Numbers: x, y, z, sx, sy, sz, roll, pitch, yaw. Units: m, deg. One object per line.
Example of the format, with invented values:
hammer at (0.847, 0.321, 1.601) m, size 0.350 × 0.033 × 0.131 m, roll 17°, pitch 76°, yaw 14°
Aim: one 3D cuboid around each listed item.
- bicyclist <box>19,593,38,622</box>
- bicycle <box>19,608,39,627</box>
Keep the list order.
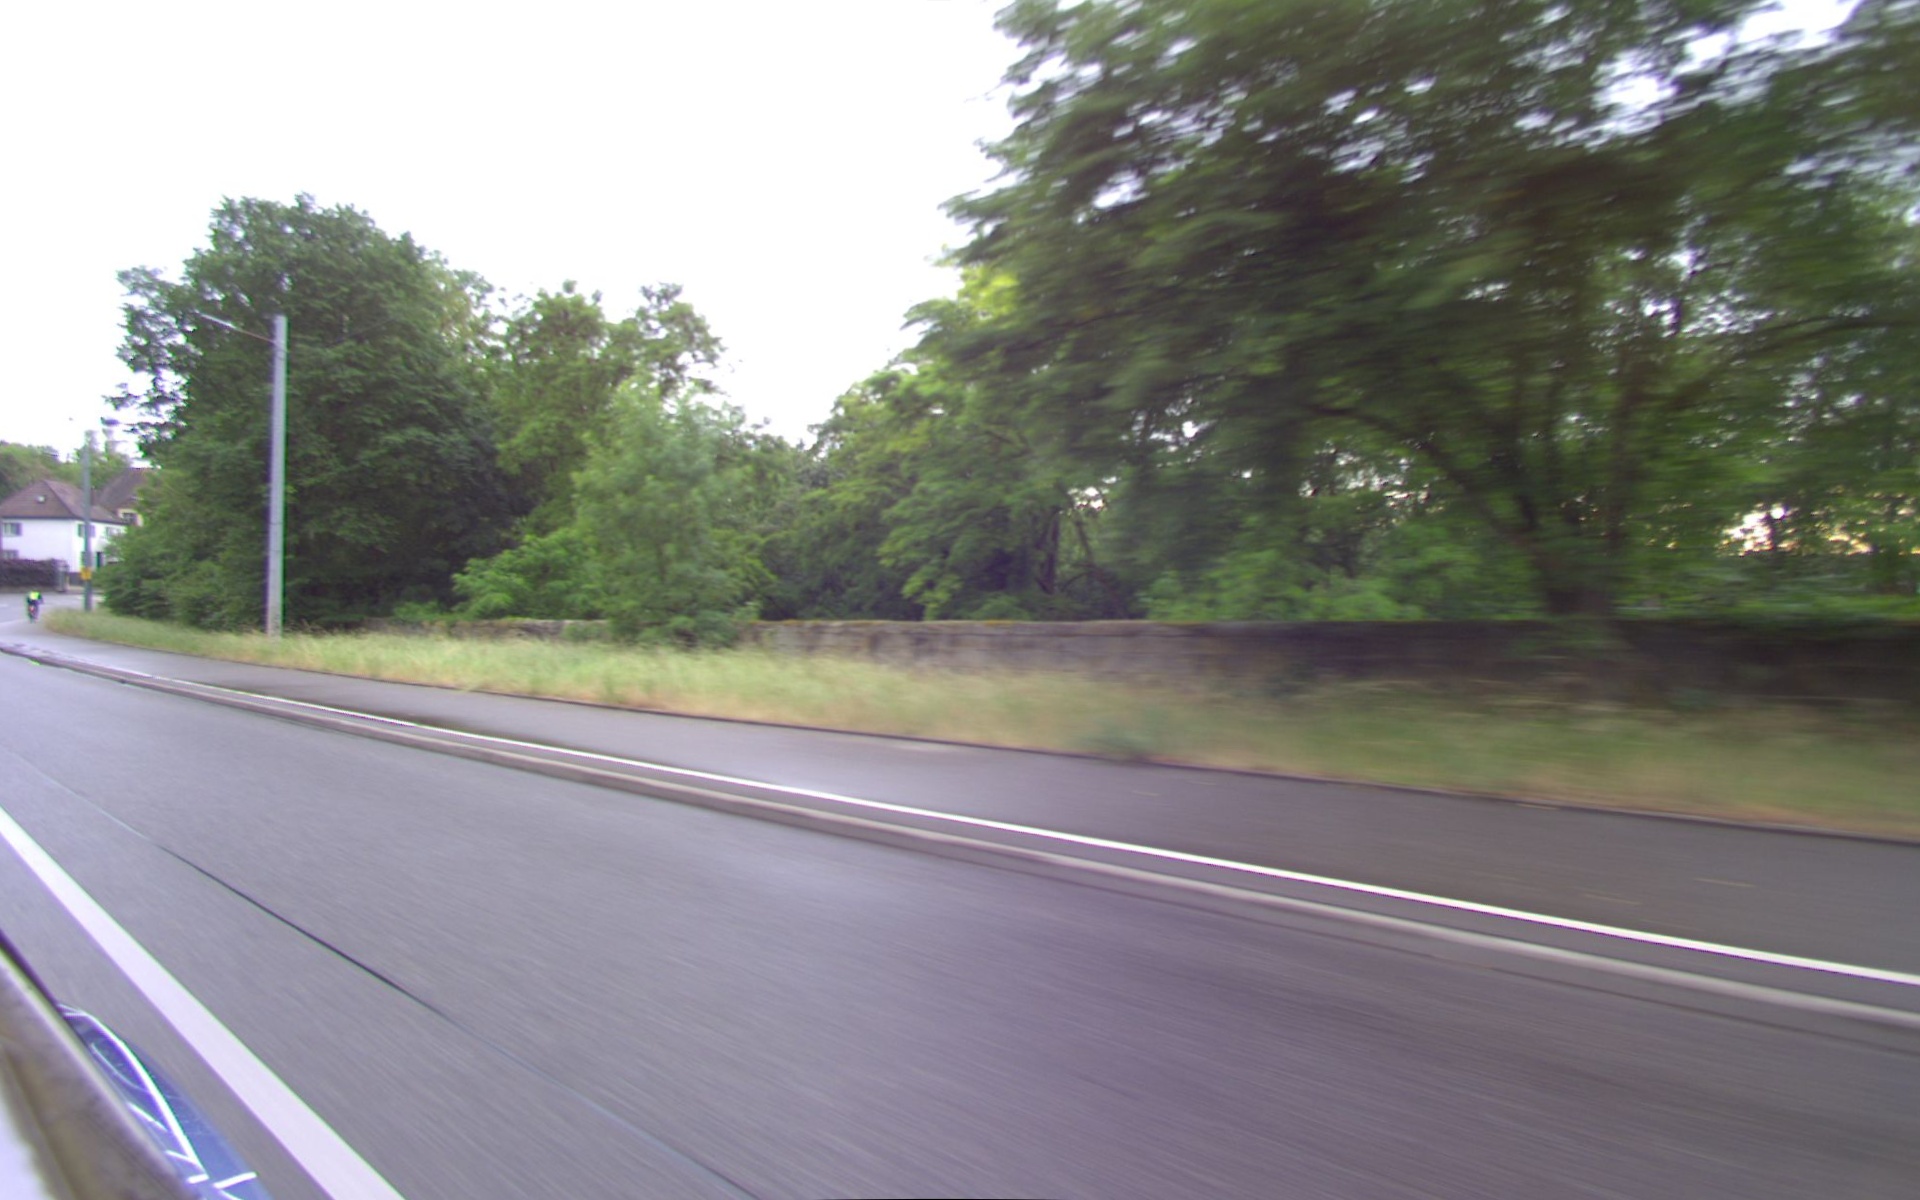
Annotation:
bicyclist at (-50.805, 0.386, 55.202) m, size 0.700 × 1.567 × 1.172 m, roll -2°, pitch 1°, yaw -42°
bicycle at (-50.902, 0.941, 55.343) m, size 0.715 × 0.949 × 2.554 m, roll -2°, pitch 1°, yaw -41°
